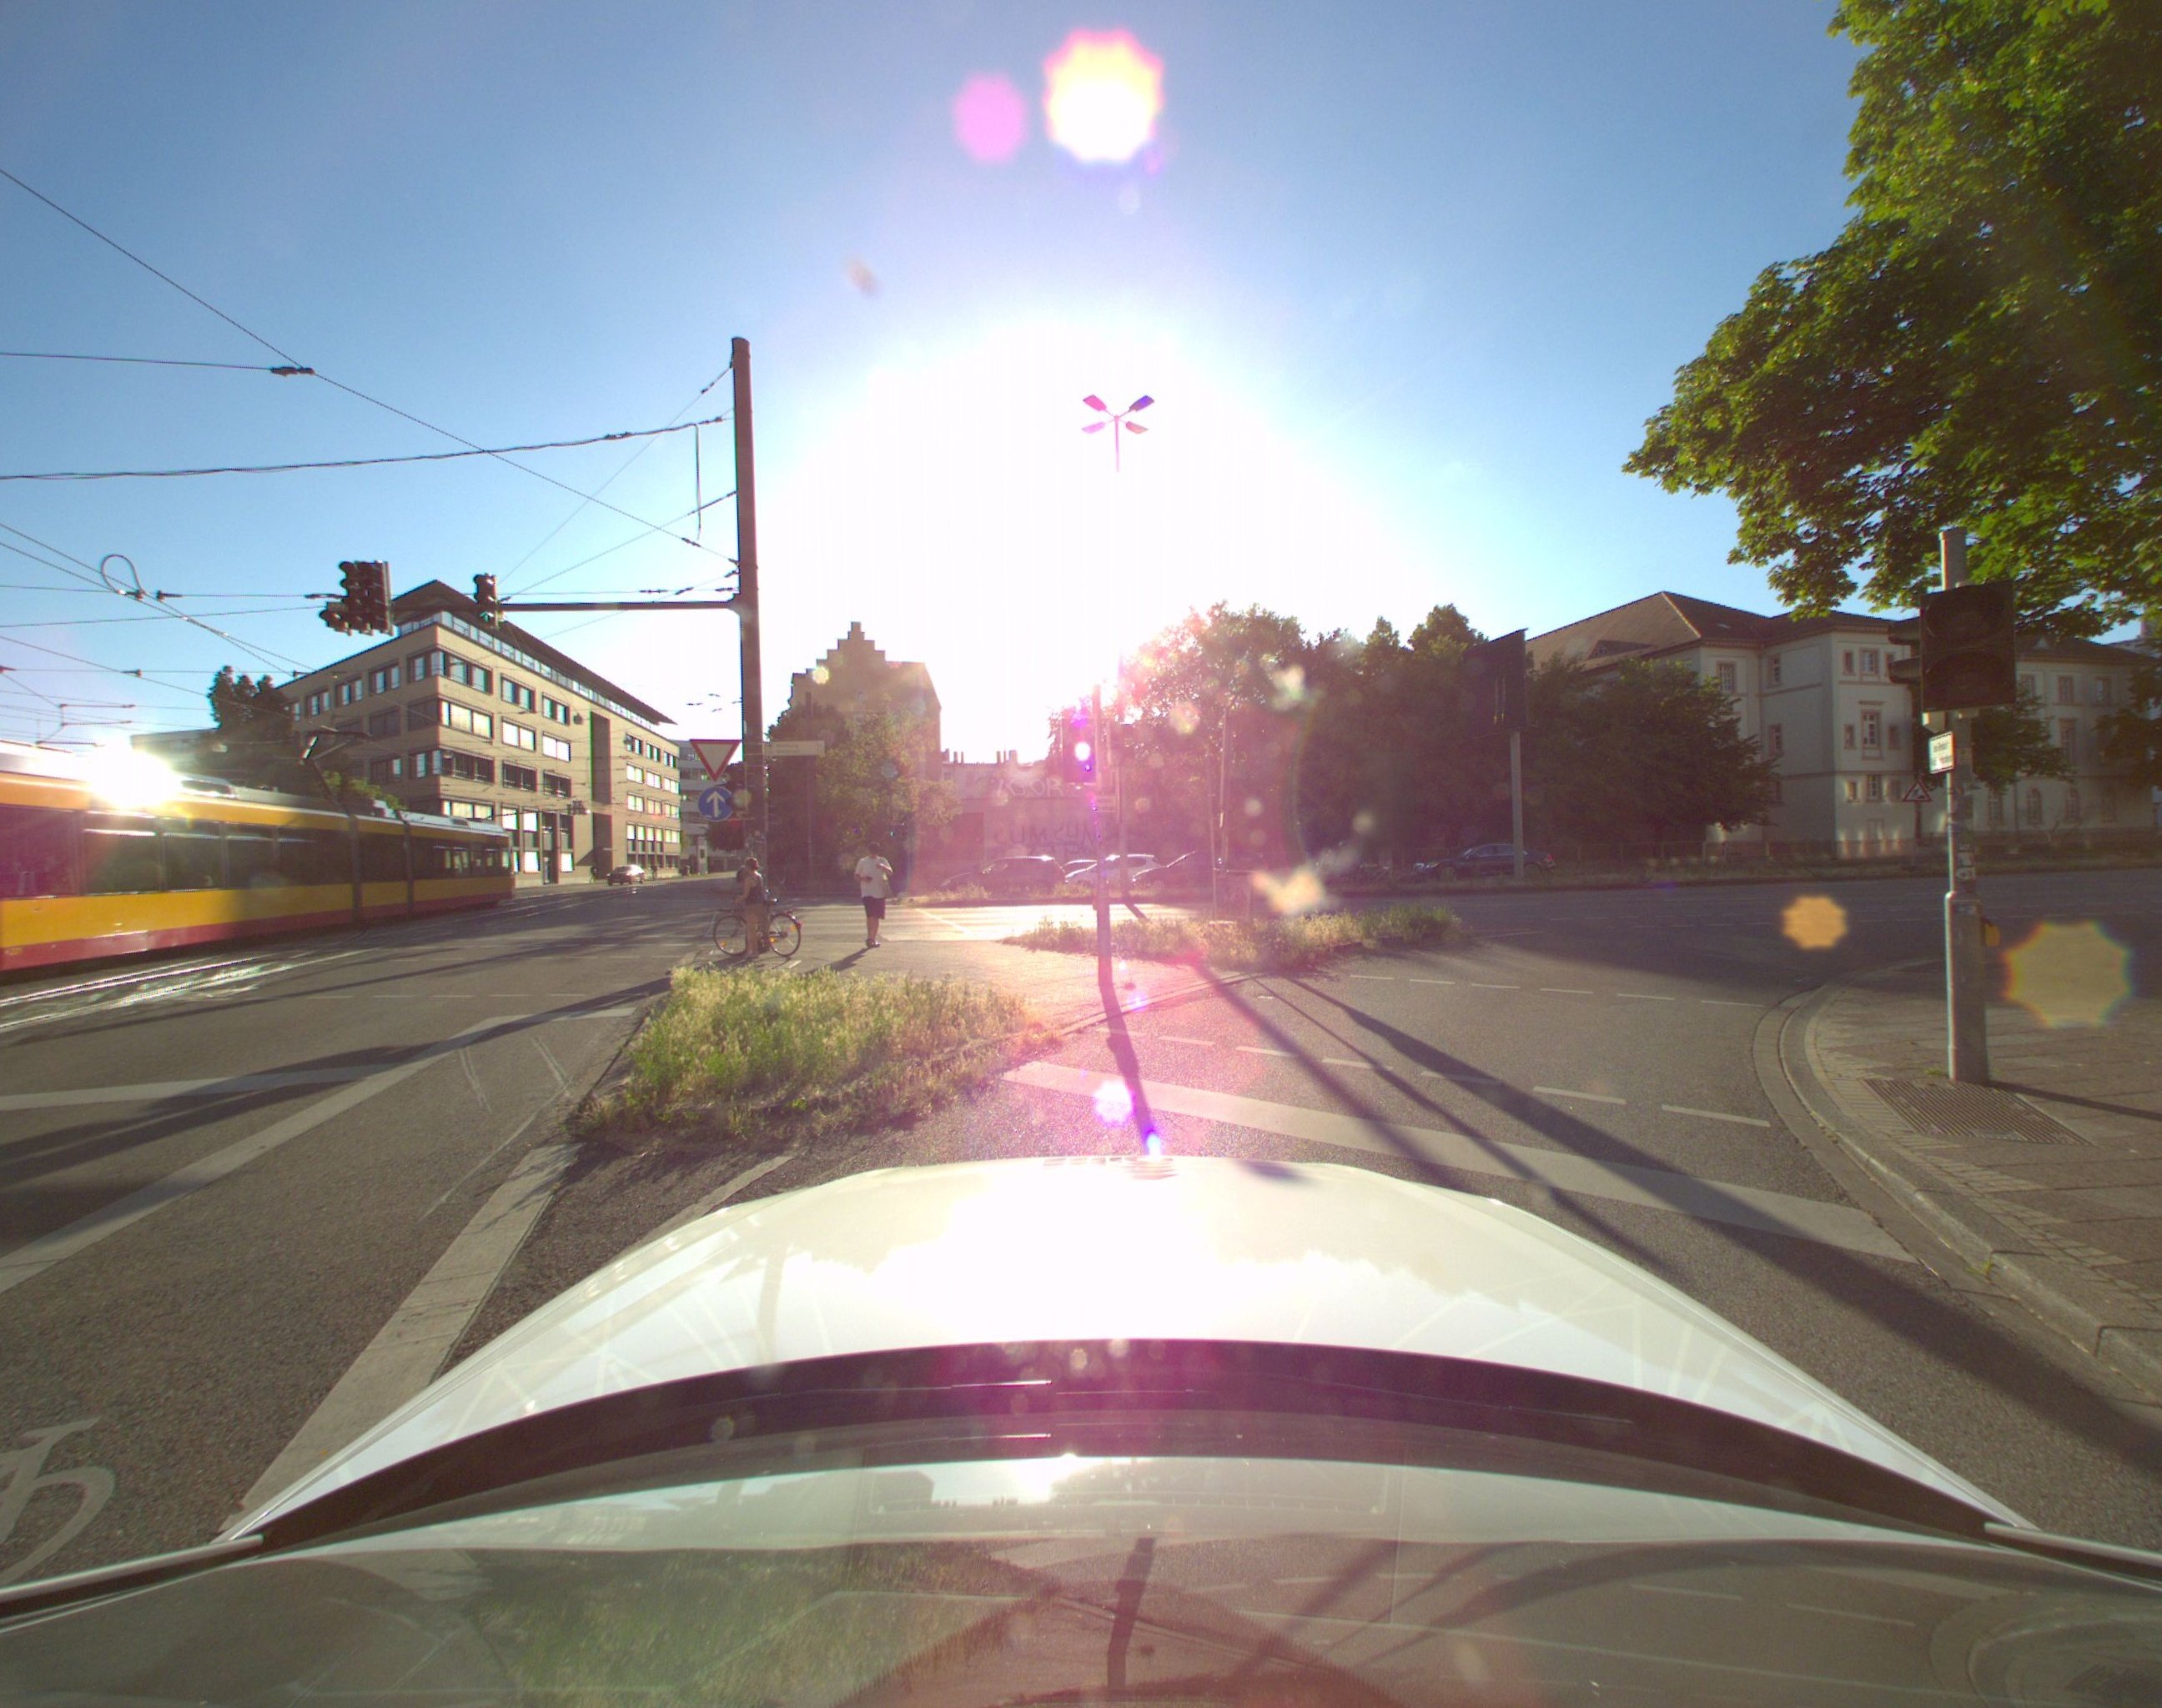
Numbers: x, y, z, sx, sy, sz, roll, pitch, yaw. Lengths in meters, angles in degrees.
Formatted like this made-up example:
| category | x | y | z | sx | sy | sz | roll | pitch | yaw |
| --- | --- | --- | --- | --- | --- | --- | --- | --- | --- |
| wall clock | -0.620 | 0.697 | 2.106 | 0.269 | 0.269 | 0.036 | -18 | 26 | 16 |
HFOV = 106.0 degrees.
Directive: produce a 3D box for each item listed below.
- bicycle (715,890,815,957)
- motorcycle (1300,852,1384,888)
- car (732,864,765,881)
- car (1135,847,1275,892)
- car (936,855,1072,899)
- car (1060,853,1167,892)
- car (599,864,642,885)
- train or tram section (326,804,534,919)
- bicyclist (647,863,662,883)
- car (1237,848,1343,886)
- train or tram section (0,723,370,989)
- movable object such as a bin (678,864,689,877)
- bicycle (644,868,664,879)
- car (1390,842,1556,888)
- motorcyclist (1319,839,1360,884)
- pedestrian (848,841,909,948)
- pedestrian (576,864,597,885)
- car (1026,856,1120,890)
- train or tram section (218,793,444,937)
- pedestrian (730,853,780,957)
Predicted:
| category | x | y | z | sx | sy | sz | roll | pitch | yaw |
| --- | --- | --- | --- | --- | --- | --- | --- | --- | --- |
| bicycle | -5.143 | 1.119 | 13.251 | 1.652 | 1.029 | 0.402 | -2 | -1 | 21 |
| motorcycle | 8.455 | 0.514 | 26.445 | 2.452 | 1.108 | 0.862 | -2 | 0 | 2 |
| car | -29.349 | 1.627 | 72.033 | 1.784 | 1.388 | 3.987 | -2 | 0 | -9 |
| car | 3.978 | 0.502 | 26.676 | 4.344 | 1.296 | 1.725 | -2 | 0 | 2 |
| car | -2.502 | 0.735 | 27.080 | 4.216 | 1.296 | 1.726 | -2 | 0 | 4 |
| car | 1.190 | 0.673 | 30.488 | 3.868 | 1.319 | 1.724 | -2 | 0 | 0 |
| car | -39.069 | 1.714 | 69.195 | 1.817 | 1.614 | 4.447 | -2 | 0 | -11 |
| train or tram section | -23.619 | 0.275 | 30.480 | 2.872 | 3.508 | 11.214 | -1 | 0 | -22 |
| bicyclist | -44.729 | 2.014 | 85.331 | 0.991 | 2.013 | 1.247 | -1 | 0 | -9 |
| car | 8.866 | 0.523 | 34.743 | 3.979 | 1.464 | 1.857 | -2 | 0 | -4 |
| train or tram section | -17.195 | 0.119 | 14.298 | 2.872 | 3.508 | 12.919 | -1 | 0 | -22 |
| movable object such as a bin | -50.010 | 2.078 | 102.494 | 1.067 | 1.628 | 0.885 | -2 | 0 | -13 |
| bicycle | -44.733 | 2.009 | 85.351 | 1.009 | 1.135 | 2.819 | -1 | 0 | -8 |
| car | 14.491 | 0.391 | 30.302 | 5.263 | 1.496 | 1.997 | -2 | 0 | -4 |
| motorcyclist | 8.394 | 0.248 | 26.435 | 1.054 | 1.398 | 0.855 | -2 | 0 | 3 |
| pedestrian | -3.564 | 0.691 | 14.311 | 0.912 | 1.789 | 0.822 | -1 | -1 | -21 |
| pedestrian | -47.953 | 1.961 | 78.983 | 1.240 | 2.013 | 1.548 | -2 | 0 | -11 |
| car | -0.316 | 0.808 | 34.738 | 3.868 | 1.296 | 1.724 | -2 | 0 | 0 |
| train or tram section | -20.563 | 0.273 | 22.774 | 2.872 | 3.508 | 5.264 | -1 | 0 | -22 |
| pedestrian | -5.260 | 0.814 | 13.150 | 0.519 | 1.631 | 0.492 | -2 | -1 | 21 |
